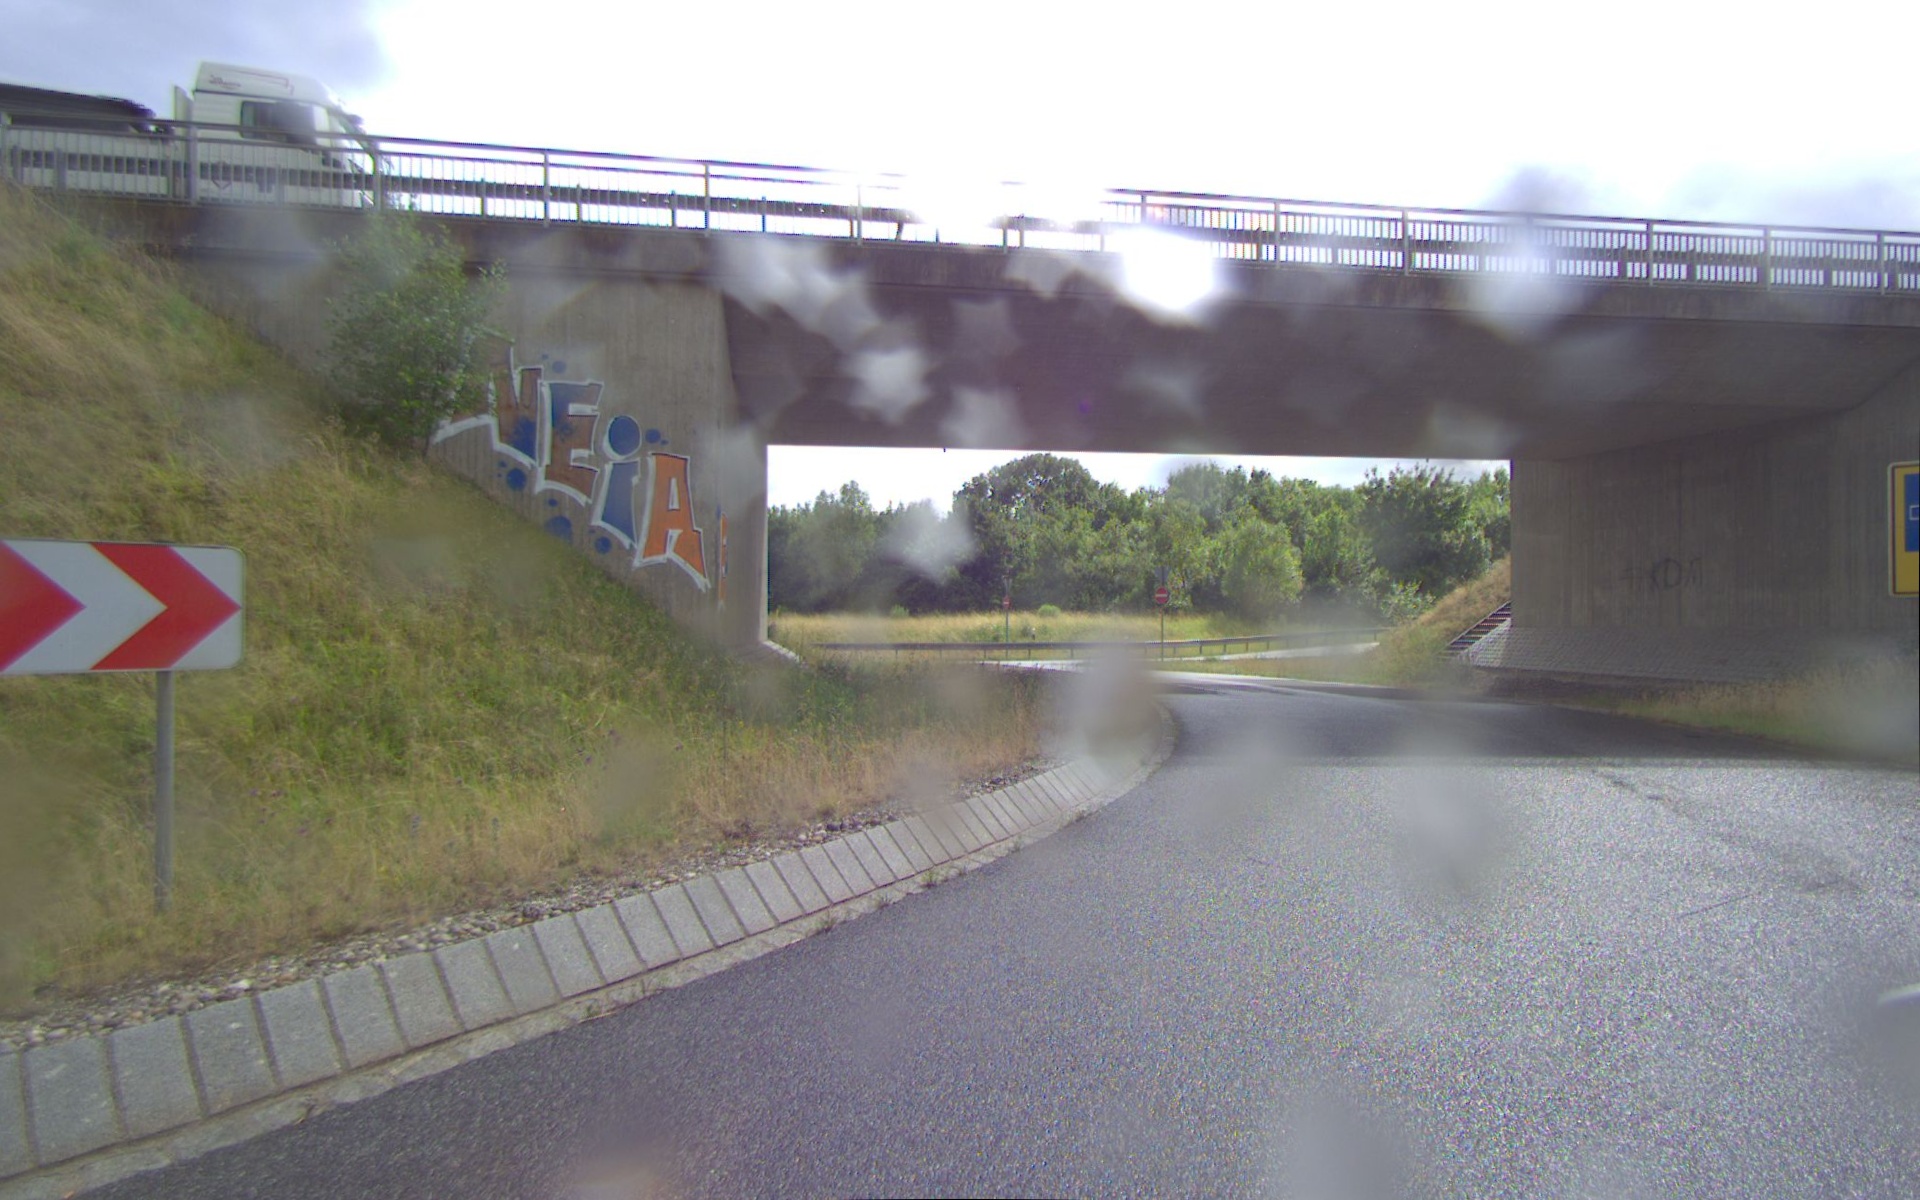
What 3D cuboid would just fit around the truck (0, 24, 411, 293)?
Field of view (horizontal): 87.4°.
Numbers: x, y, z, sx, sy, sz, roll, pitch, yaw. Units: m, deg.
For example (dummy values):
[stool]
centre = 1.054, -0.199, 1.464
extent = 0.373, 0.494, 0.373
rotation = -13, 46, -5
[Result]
[truck]
centre = -14.791, -6.996, 15.712
extent = 10.636, 2.912, 2.202
rotation = 1, 0, -12
